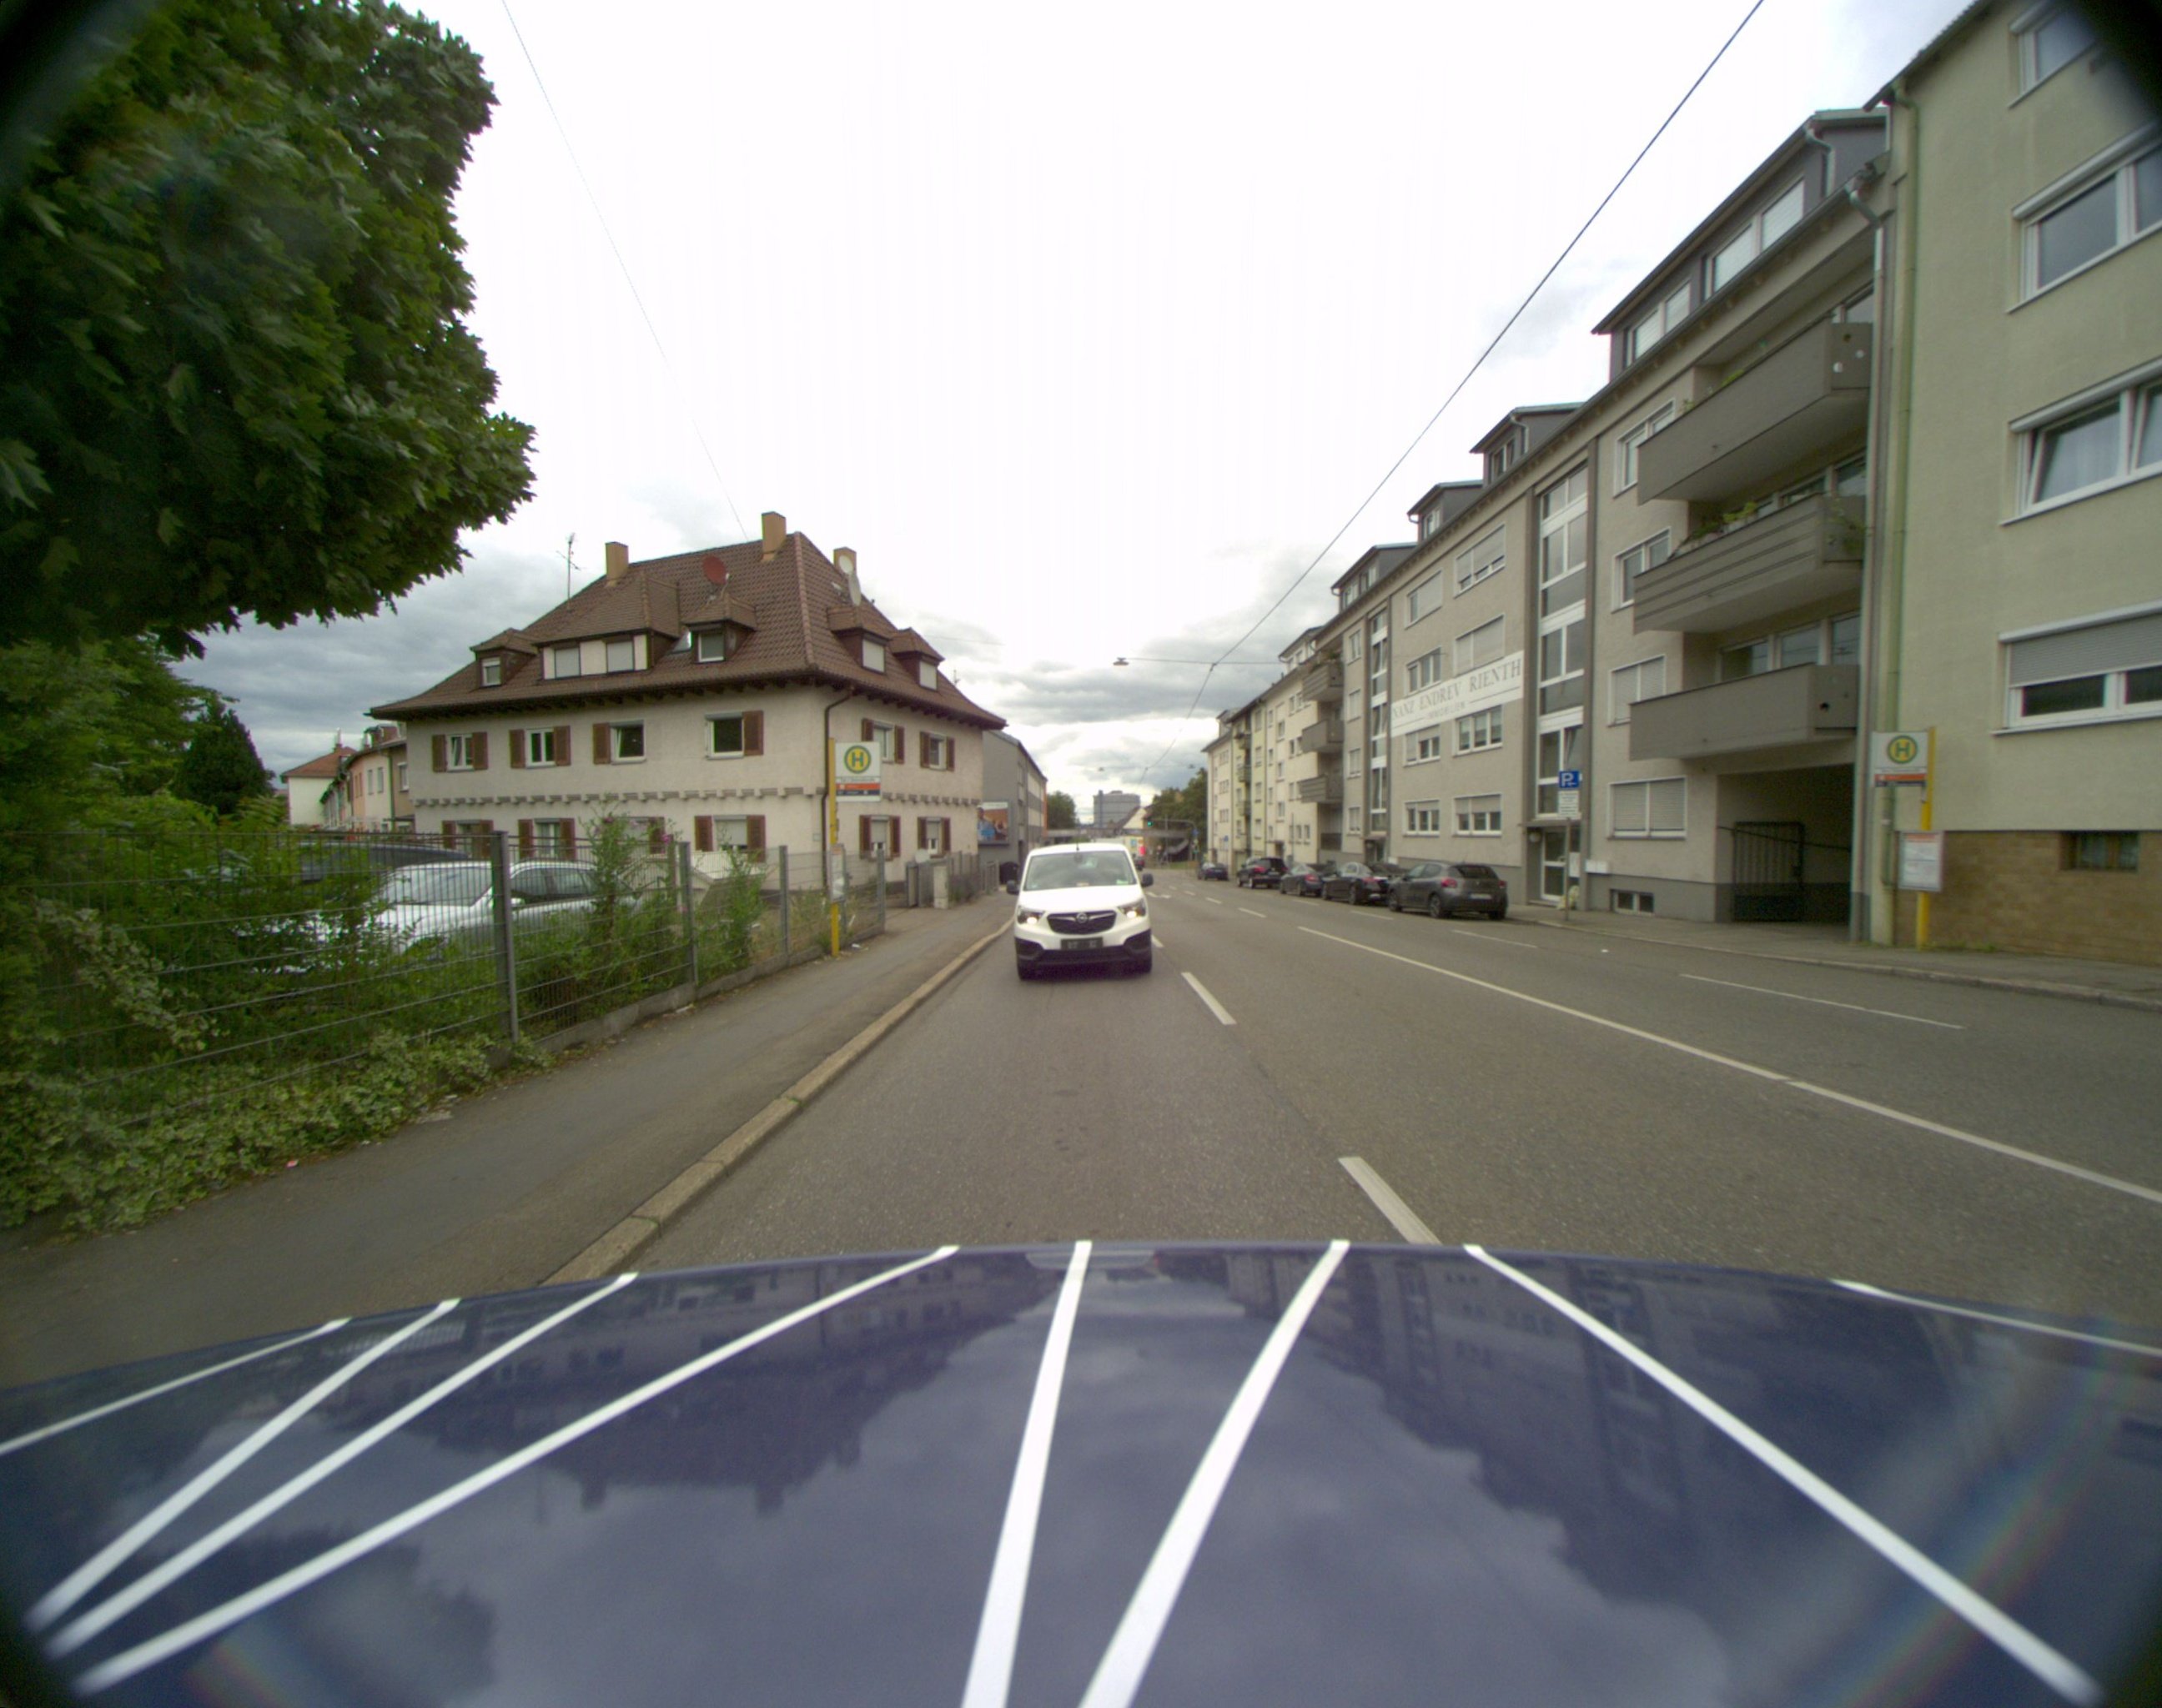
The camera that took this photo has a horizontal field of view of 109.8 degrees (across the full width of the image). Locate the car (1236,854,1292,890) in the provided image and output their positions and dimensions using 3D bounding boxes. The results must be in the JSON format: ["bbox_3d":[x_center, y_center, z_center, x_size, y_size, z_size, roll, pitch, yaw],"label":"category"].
[{"bbox_3d":[9.685,0.926,40.552,1.875,1.743,4.307,2,0,0],"label":"car"}]

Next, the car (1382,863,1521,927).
[{"bbox_3d":[9.665,1.008,20.158,1.772,1.428,3.801,2,0,0],"label":"car"}]

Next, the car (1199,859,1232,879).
[{"bbox_3d":[10.103,1.111,57.294,1.875,1.372,4.308,2,0,2],"label":"car"}]

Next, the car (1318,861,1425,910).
[{"bbox_3d":[9.681,0.997,25.746,1.772,1.397,4.718,2,0,0],"label":"car"}]

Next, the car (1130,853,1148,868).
[{"bbox_3d":[6.801,0.762,89.521,1.875,1.569,4.308,2,0,2],"label":"car"}]

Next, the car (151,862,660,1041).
[{"bbox_3d":[-6.563,0.800,8.197,1.804,1.413,4.263,0,0,-3],"label":"car"}]

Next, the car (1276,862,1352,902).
[{"bbox_3d":[9.529,1.112,31.408,1.772,1.397,4.307,2,0,0],"label":"car"}]

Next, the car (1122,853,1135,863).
[{"bbox_3d":[7.570,0.651,121.621,1.875,1.569,4.308,2,0,2],"label":"car"}]

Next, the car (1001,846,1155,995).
[{"bbox_3d":[-0.035,0.794,11.198,1.803,1.735,3.999,-2,0,0],"label":"car"}]

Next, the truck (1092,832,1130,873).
[{"bbox_3d":[2.688,-0.066,70.972,2.776,3.554,8.062,-1,0,-3],"label":"truck"}]

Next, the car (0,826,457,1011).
[{"bbox_3d":[-11.236,0.701,10.284,1.994,2.002,4.008,0,0,41],"label":"car"}]
